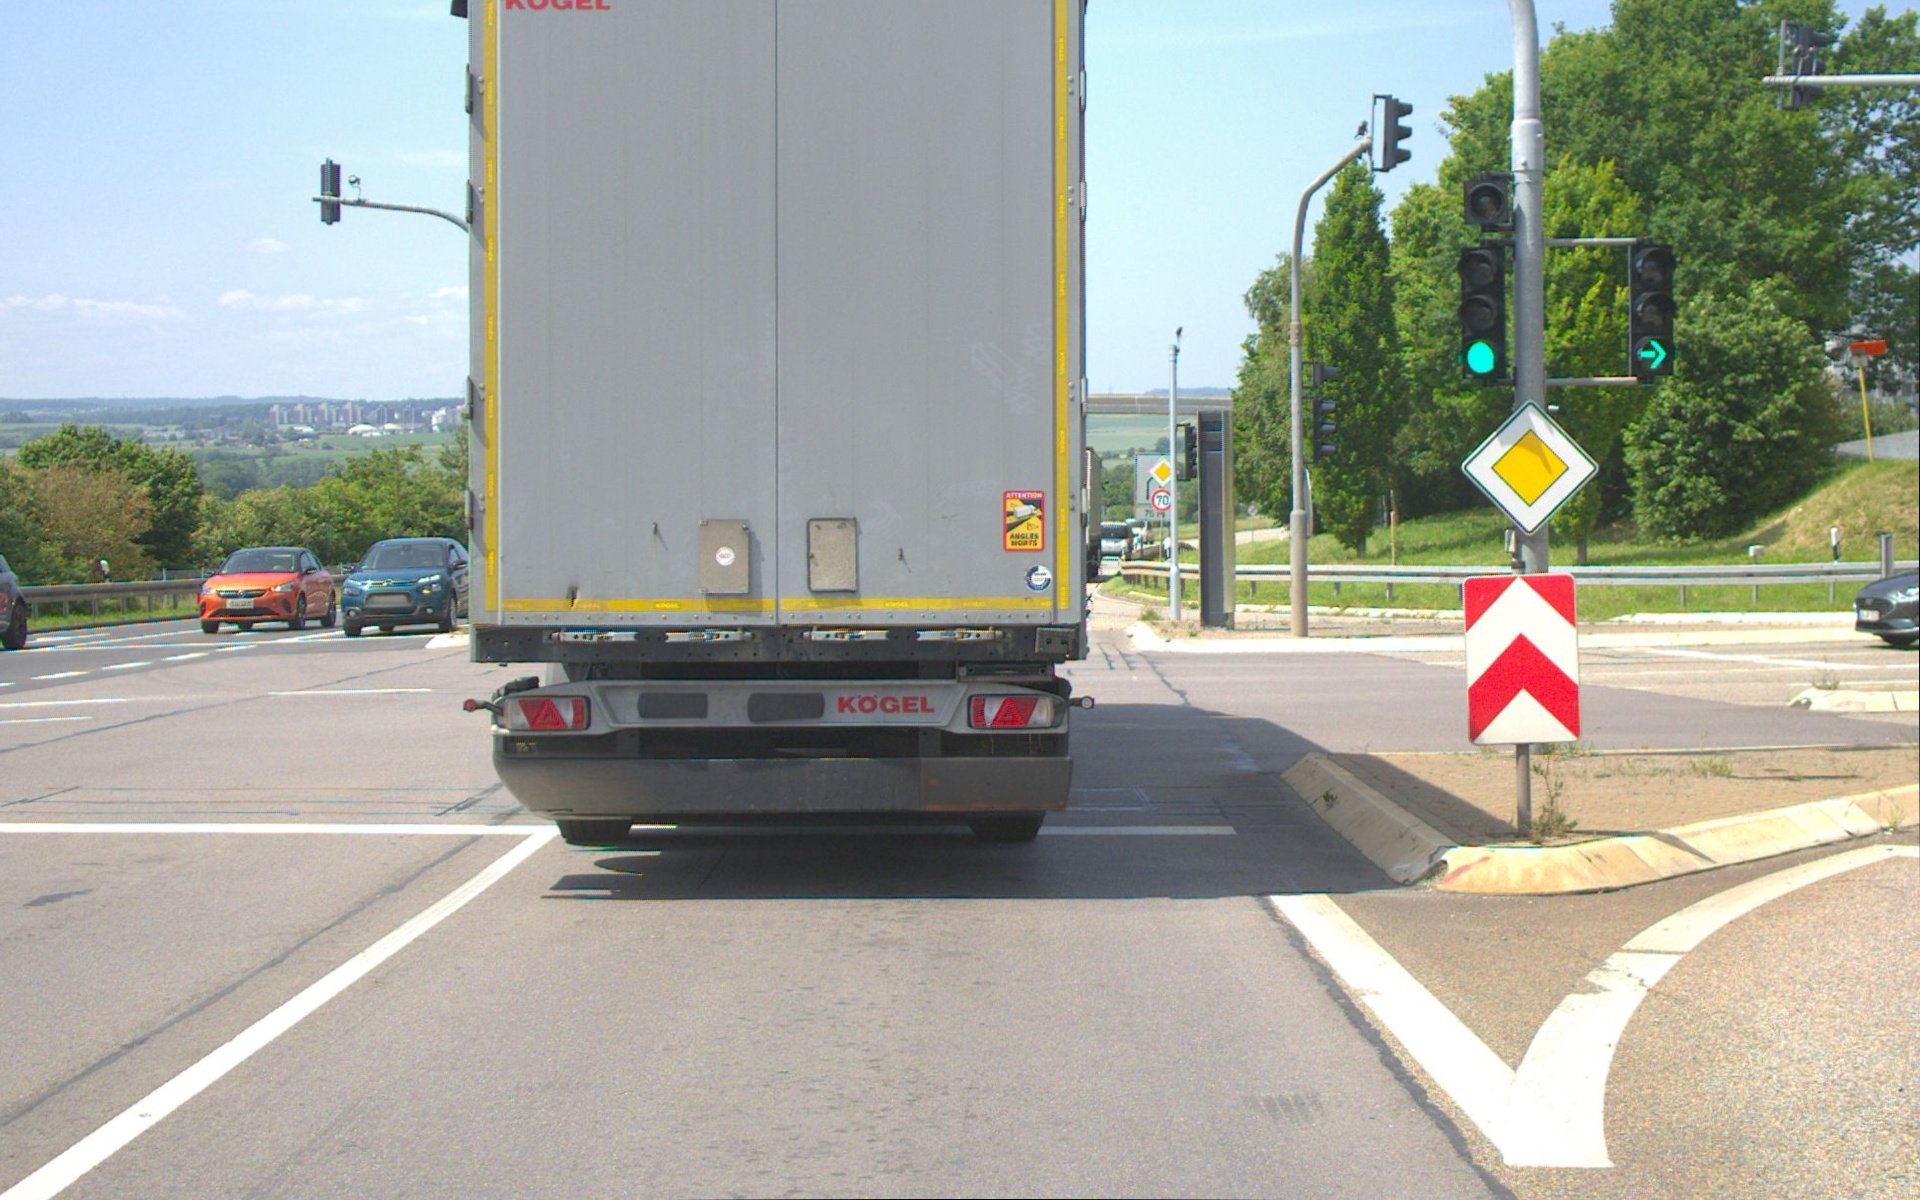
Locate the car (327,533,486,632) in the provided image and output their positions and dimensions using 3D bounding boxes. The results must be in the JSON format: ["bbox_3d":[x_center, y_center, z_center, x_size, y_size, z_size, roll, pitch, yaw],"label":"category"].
[{"bbox_3d":[-8.703,-0.307,54.387,1.755,1.464,4.196,-1,1,1],"label":"car"}]

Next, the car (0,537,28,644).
[{"bbox_3d":[-15.431,-0.108,51.593,1.644,1.618,4.328,-2,0,0],"label":"car"}]

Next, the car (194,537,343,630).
[{"bbox_3d":[-12.036,-0.318,60.052,1.644,1.491,4.066,-2,1,1],"label":"car"}]

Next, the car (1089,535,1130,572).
[{"bbox_3d":[6.882,-2.128,157.823,1.786,1.682,3.999,1,1,4],"label":"car"}]

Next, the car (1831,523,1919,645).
[{"bbox_3d":[13.236,-0.216,43.402,3.986,1.505,1.717,0,1,-9],"label":"car"}]

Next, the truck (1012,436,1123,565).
[{"bbox_3d":[3.394,-2.974,106.086,2.656,3.751,10.160,1,1,6],"label":"truck"}]

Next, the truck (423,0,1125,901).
[{"bbox_3d":[-1.042,-0.845,19.541,2.799,3.916,11.343,1,1,-3],"label":"truck"}]
